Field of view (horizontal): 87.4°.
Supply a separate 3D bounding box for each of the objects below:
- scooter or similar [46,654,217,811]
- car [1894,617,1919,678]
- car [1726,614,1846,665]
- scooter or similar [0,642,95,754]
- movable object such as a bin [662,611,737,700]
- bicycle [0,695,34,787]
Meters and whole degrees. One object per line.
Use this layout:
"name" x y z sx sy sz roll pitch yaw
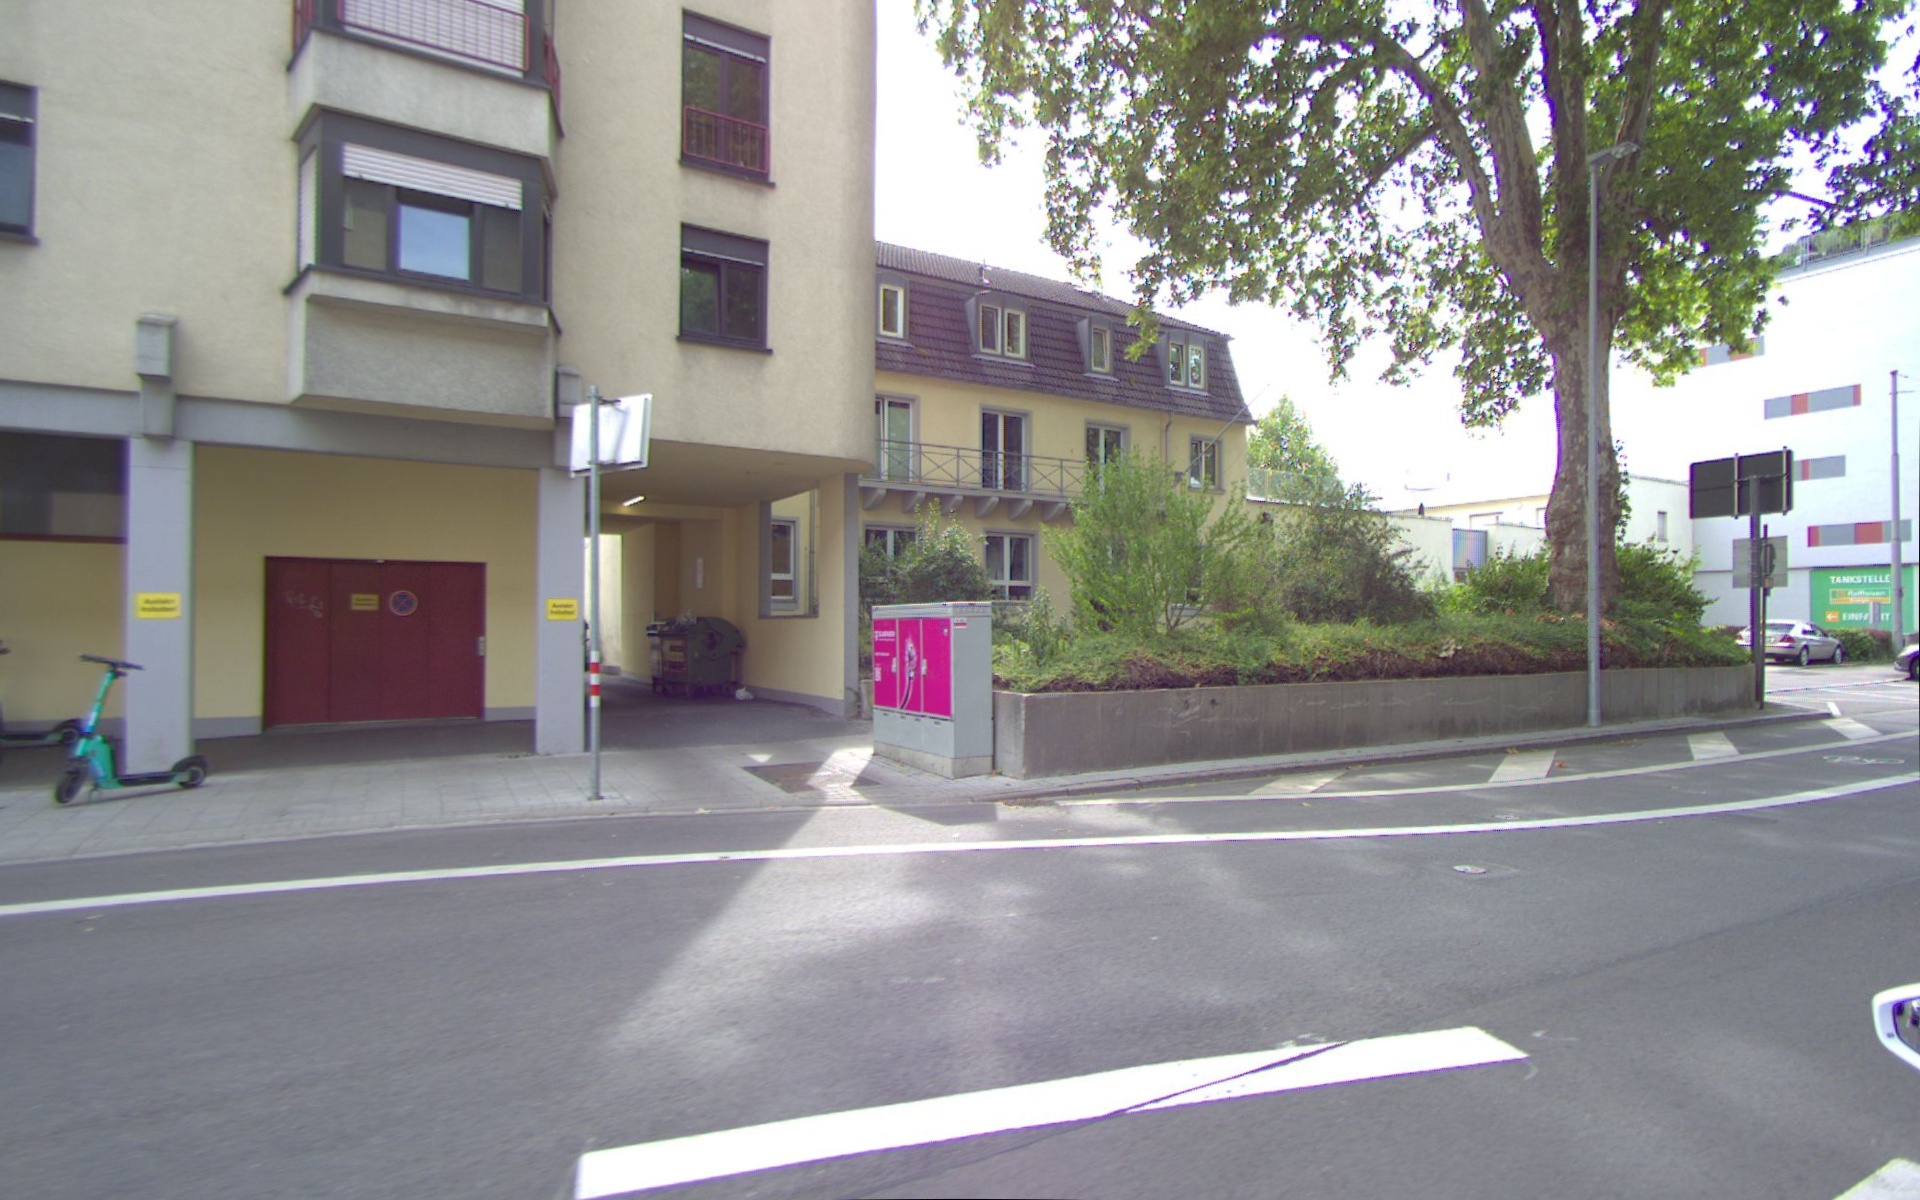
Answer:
"scooter or similar" -7.375 1.139 8.995 0.281 1.281 1.176 -1 -1 23
"car" 28.416 1.353 27.185 1.944 1.627 4.238 -1 1 -29
"car" 27.598 1.273 33.552 4.184 1.539 1.749 0 0 -30
"scooter or similar" -10.488 1.091 11.250 1.164 1.217 0.284 1 -1 -34
"movable object such as a bin" -4.772 0.995 18.372 1.054 1.561 1.136 1 -1 -32
"bicycle" -9.651 1.330 9.236 1.599 0.832 0.427 1 -1 -30
